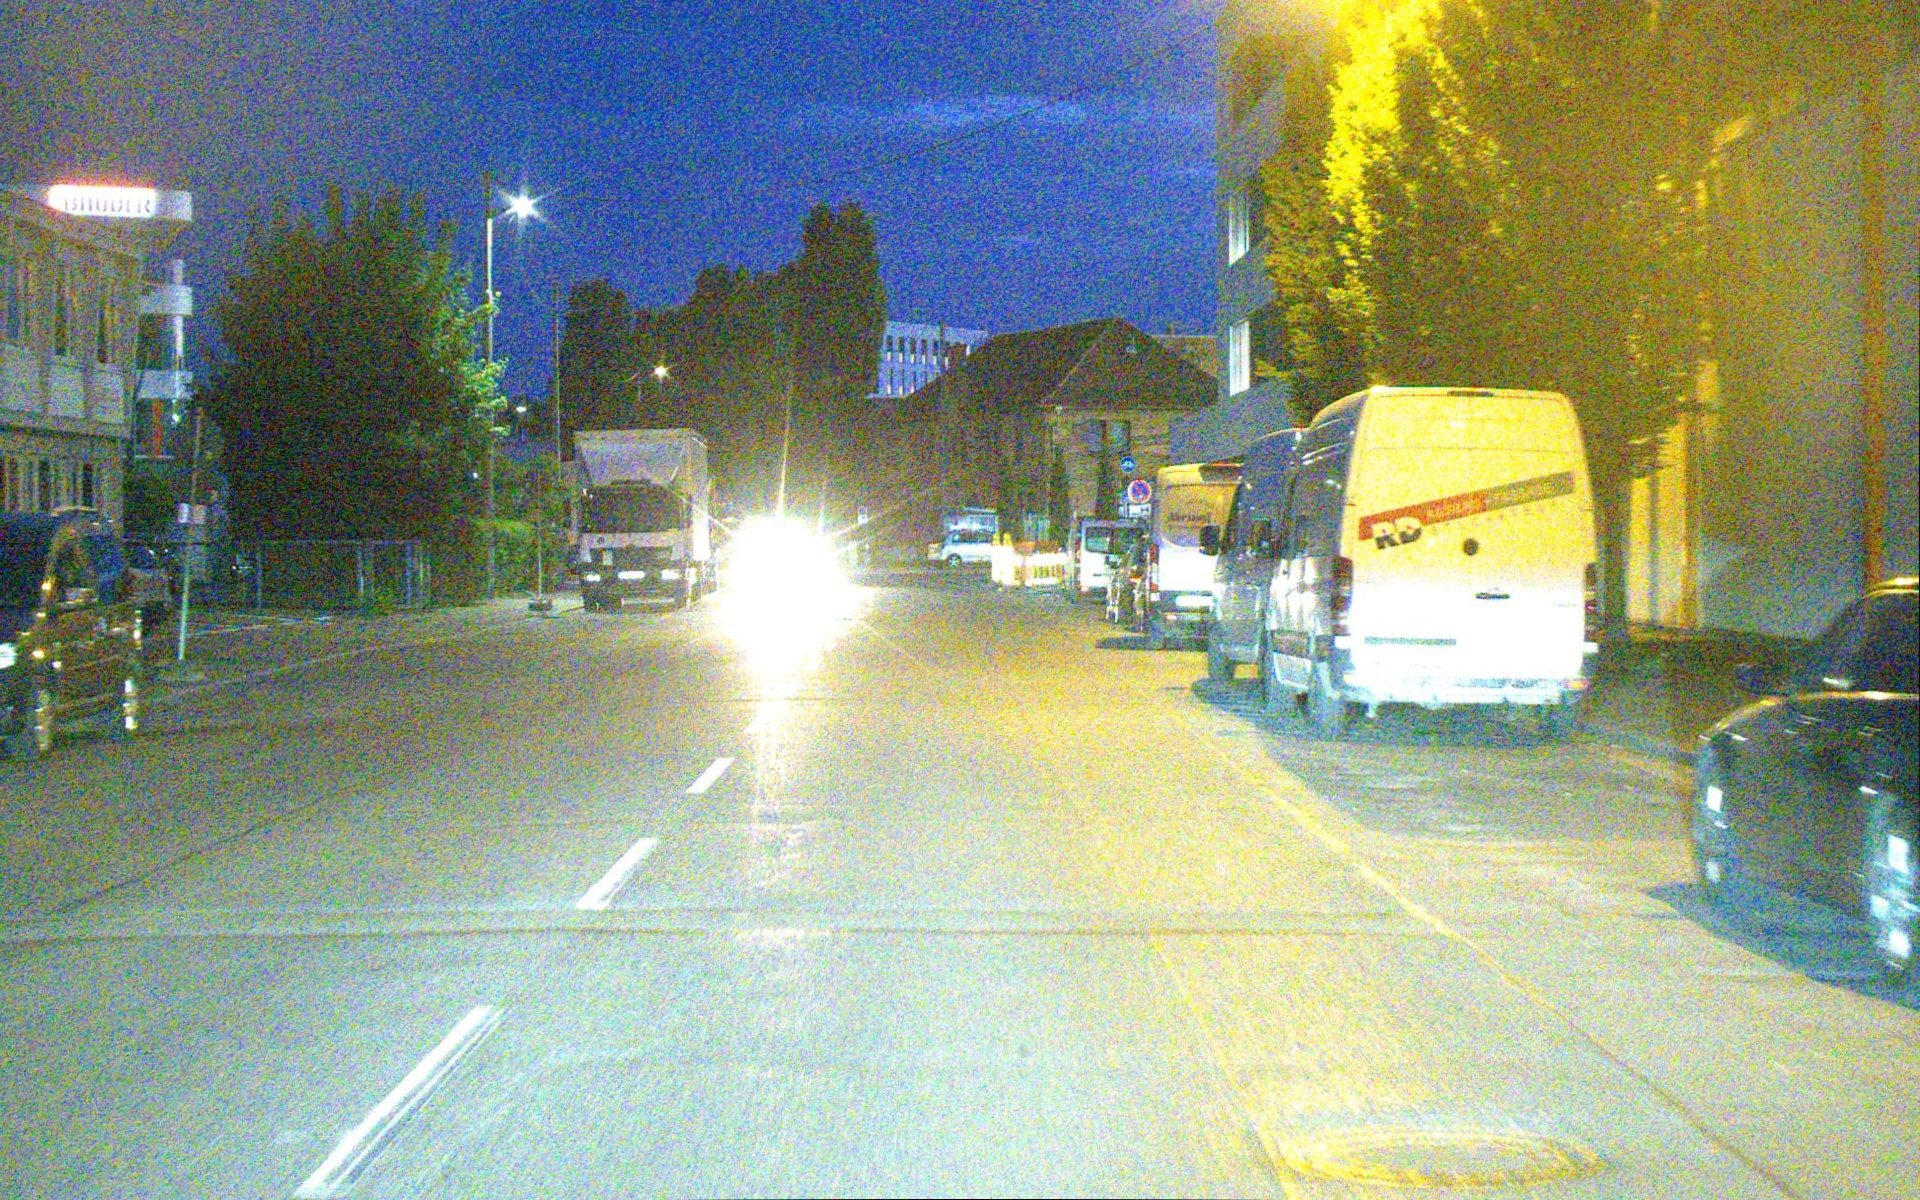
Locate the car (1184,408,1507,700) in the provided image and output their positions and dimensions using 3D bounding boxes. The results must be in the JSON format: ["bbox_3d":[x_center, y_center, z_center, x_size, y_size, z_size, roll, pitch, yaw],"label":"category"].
[{"bbox_3d":[3.688,-0.487,34.114,2.128,2.562,5.910,2,1,-3],"label":"car"}]

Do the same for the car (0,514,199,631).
[{"bbox_3d":[-13.280,-0.447,49.405,4.132,1.427,1.895,5,2,18],"label":"car"}]

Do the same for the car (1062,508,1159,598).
[{"bbox_3d":[3.480,-1.109,80.132,1.993,2.007,4.912,-1,1,0],"label":"car"}]

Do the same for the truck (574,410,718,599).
[{"bbox_3d":[-7.001,-2.120,77.818,2.746,4.020,9.561,0,1,-2],"label":"truck"}]

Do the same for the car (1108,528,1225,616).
[{"bbox_3d":[3.618,-0.528,60.943,1.946,1.484,5.010,0,1,2],"label":"car"}]

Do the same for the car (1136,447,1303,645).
[{"bbox_3d":[3.563,-0.772,48.172,1.994,2.517,5.909,3,1,2],"label":"car"}]

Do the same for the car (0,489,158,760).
[{"bbox_3d":[-7.351,0.133,25.603,1.813,1.843,4.415,0,1,-1],"label":"car"}]

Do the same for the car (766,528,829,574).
[{"bbox_3d":[-5.072,-1.533,107.786,1.857,1.415,4.000,0,1,-1],"label":"car"}]

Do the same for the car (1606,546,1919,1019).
[{"bbox_3d":[3.840,0.556,12.861,1.829,1.402,4.909,3,1,0],"label":"car"}]

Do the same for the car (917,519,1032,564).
[{"bbox_3d":[0.594,-2.418,142.558,4.325,1.640,1.893,-3,3,-22],"label":"car"}]

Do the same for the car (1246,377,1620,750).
[{"bbox_3d":[3.607,-0.325,27.385,1.993,2.562,6.014,3,1,0],"label":"car"}]

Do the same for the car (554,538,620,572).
[{"bbox_3d":[-15.198,-1.854,140.020,1.814,1.366,4.362,-1,1,-18],"label":"car"}]

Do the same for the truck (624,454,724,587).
[{"bbox_3d":[-9.339,-2.554,111.460,2.772,4.106,9.343,-1,1,-7],"label":"truck"}]

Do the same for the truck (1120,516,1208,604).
[{"bbox_3d":[3.910,-0.777,66.267,1.370,1.639,3.813,0,1,-1],"label":"truck"}]

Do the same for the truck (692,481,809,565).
[{"bbox_3d":[-9.780,-3.542,159.219,2.754,3.770,9.140,-1,1,-21],"label":"truck"}]
